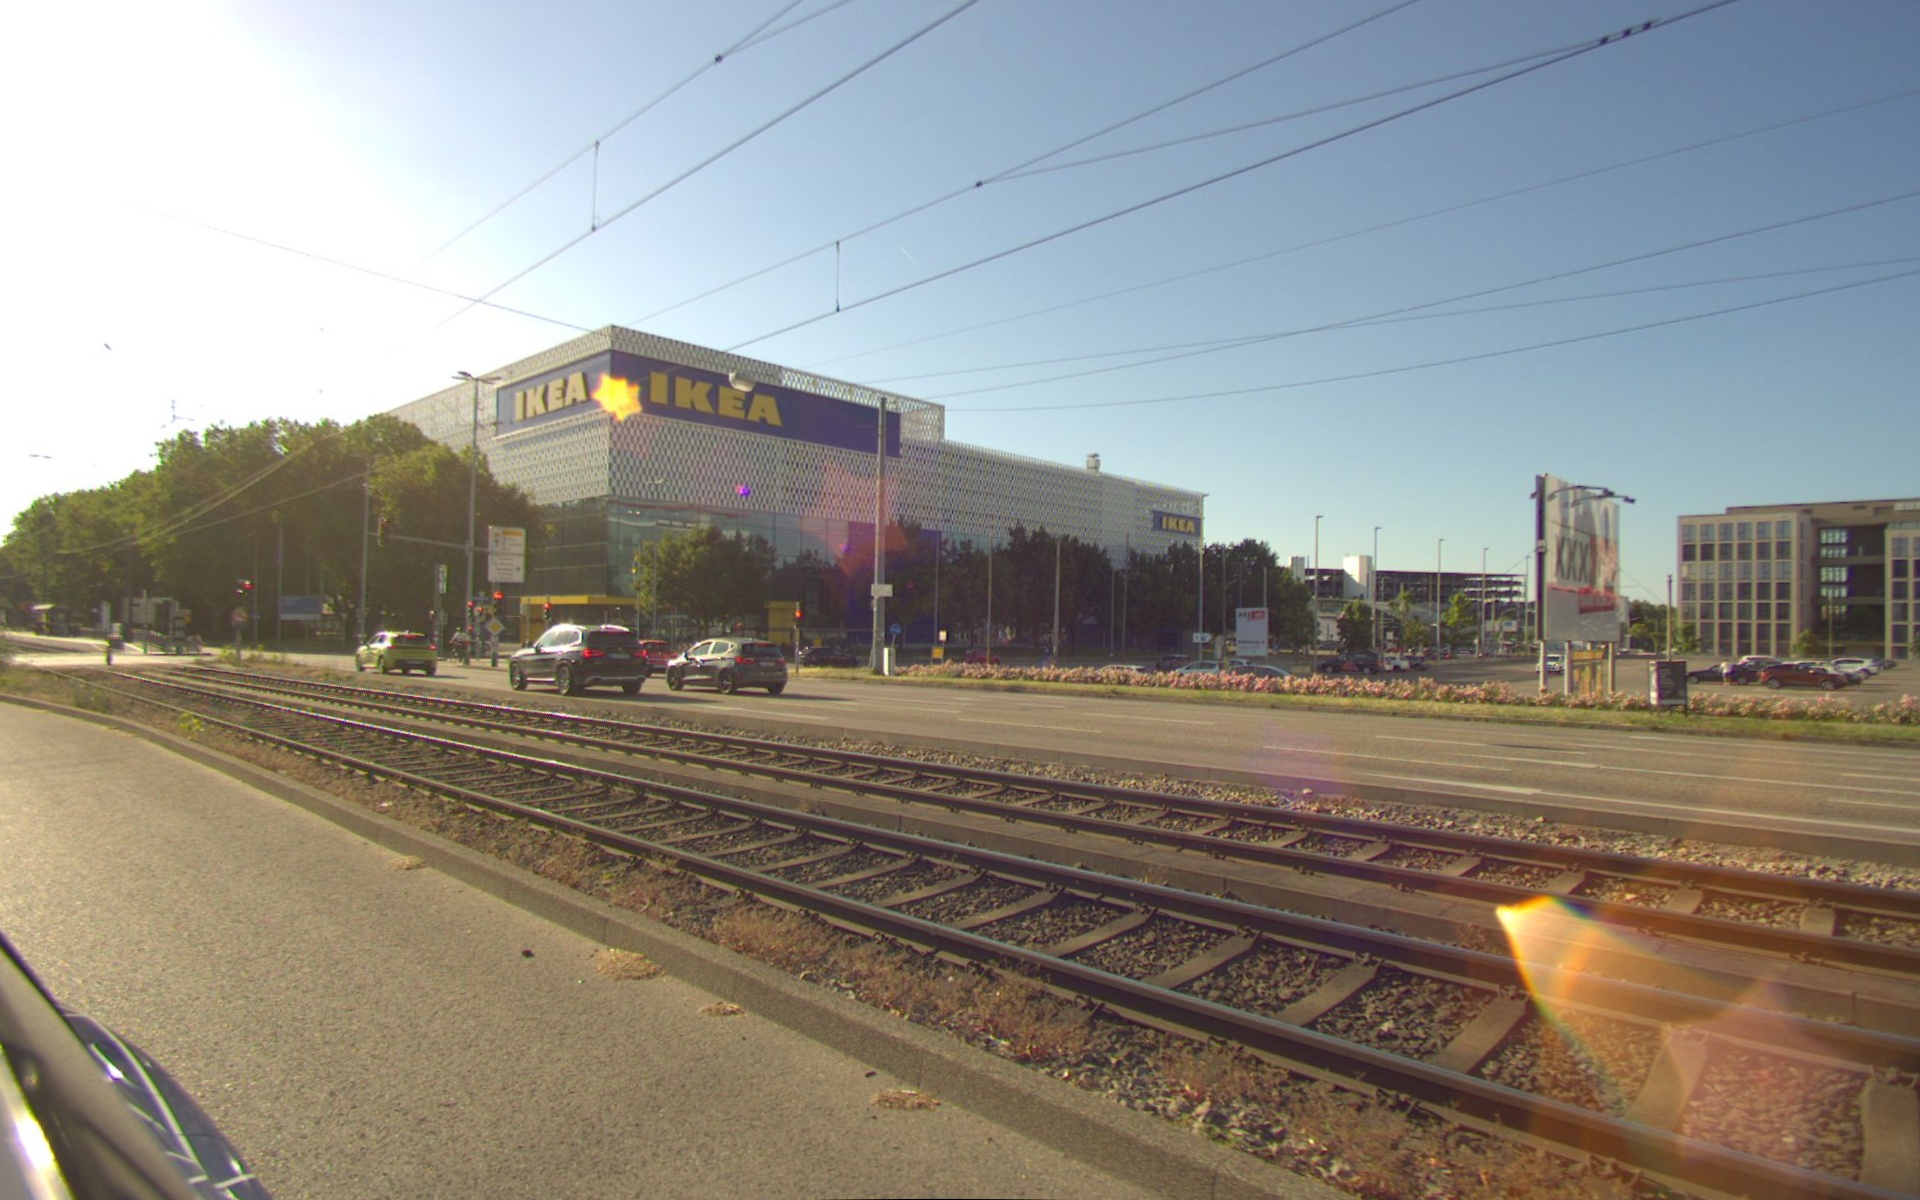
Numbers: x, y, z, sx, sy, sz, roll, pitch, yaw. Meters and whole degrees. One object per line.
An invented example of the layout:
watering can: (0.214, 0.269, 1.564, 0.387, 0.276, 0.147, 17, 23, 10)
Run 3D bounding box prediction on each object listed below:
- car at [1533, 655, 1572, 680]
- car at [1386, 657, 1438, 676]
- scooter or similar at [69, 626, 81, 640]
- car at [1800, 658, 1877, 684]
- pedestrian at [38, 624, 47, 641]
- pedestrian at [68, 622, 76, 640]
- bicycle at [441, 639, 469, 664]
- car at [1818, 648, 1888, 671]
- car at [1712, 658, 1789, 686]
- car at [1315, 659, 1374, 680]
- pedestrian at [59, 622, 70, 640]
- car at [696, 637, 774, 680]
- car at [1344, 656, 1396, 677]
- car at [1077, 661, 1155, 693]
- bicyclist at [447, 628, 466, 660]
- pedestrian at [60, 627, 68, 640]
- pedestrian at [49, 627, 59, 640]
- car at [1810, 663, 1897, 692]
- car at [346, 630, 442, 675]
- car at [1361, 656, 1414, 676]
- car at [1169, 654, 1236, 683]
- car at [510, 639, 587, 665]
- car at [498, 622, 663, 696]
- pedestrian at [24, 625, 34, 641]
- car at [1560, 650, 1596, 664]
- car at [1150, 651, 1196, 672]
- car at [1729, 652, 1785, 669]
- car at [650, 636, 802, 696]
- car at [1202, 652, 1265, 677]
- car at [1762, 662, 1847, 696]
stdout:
car: (51.748, 5.861, 88.371, 4.167, 1.813, 1.828, -1, 0, -44)
car: (42.483, 6.234, 95.128, 4.000, 1.668, 1.971, -2, -3, 43)
scooter or similar: (-82.871, 3.094, 94.750, 1.372, 1.244, 0.657, -1, -2, 43)
car: (62.115, 4.974, 71.648, 3.996, 1.631, 1.855, -2, 0, 39)
pedestrian: (-94.389, 3.336, 104.081, 0.777, 1.645, 0.652, -2, -1, 44)
pedestrian: (-85.082, 2.954, 96.949, 0.595, 1.632, 0.691, 0, -1, -43)
bicycle: (-24.706, 2.518, 49.533, 1.992, 1.177, 0.581, -2, -2, 44)
car: (71.410, 4.734, 80.987, 3.993, 1.631, 1.856, -2, 0, 37)
car: (53.867, 4.883, 68.985, 3.999, 1.715, 1.953, -2, 0, 42)
car: (32.911, 5.943, 86.734, 4.434, 1.564, 1.651, -2, 0, 39)
pedestrian: (-88.254, 3.069, 99.776, 0.687, 1.704, 0.723, -2, 0, 42)
car: (-9.234, 2.383, 41.357, 1.796, 1.655, 4.011, 3, -4, -33)
car: (36.514, 5.911, 90.211, 4.000, 1.668, 1.704, -2, -3, 44)
car: (9.683, 4.777, 62.990, 4.411, 1.723, 1.974, -2, 0, 38)
bicyclist: (-24.624, 2.153, 49.491, 0.751, 1.534, 0.581, -2, -2, 44)
pedestrian: (-87.247, 3.236, 98.554, 0.595, 1.234, 0.618, 0, -1, -43)
pedestrian: (-91.495, 3.343, 102.179, 0.685, 1.262, 0.646, -2, 0, 40)
car: (56.459, 4.865, 64.040, 3.996, 1.631, 1.855, -2, 0, 39)
car: (-19.787, 1.805, 35.312, 4.108, 1.459, 1.763, -2, -4, 43)
car: (38.849, 6.003, 92.000, 4.000, 1.668, 1.776, -2, -3, 44)
car: (16.599, 4.683, 69.392, 3.996, 1.758, 1.910, -2, 0, 39)
car: (-27.301, 3.463, 67.189, 4.192, 1.509, 2.018, 5, -4, -42)
car: (-9.511, 1.431, 25.168, 4.659, 1.668, 1.971, -1, -4, 44)
pedestrian: (-98.948, 3.480, 107.533, 0.678, 1.723, 0.753, -2, -1, 44)
car: (86.836, 7.983, 142.266, 4.001, 1.794, 1.971, -2, 0, 44)
car: (18.786, 5.368, 89.360, 1.876, 1.580, 4.262, -1, 0, -23)
car: (75.656, 5.736, 96.117, 4.002, 1.459, 1.852, -2, 0, 45)
car: (-6.238, 1.681, 26.738, 4.135, 1.472, 1.837, -2, -3, 41)
car: (19.810, 4.678, 73.318, 3.996, 1.605, 1.910, -2, 0, 39)
car: (53.021, 4.917, 63.545, 3.999, 1.827, 1.972, -2, 0, 42)
